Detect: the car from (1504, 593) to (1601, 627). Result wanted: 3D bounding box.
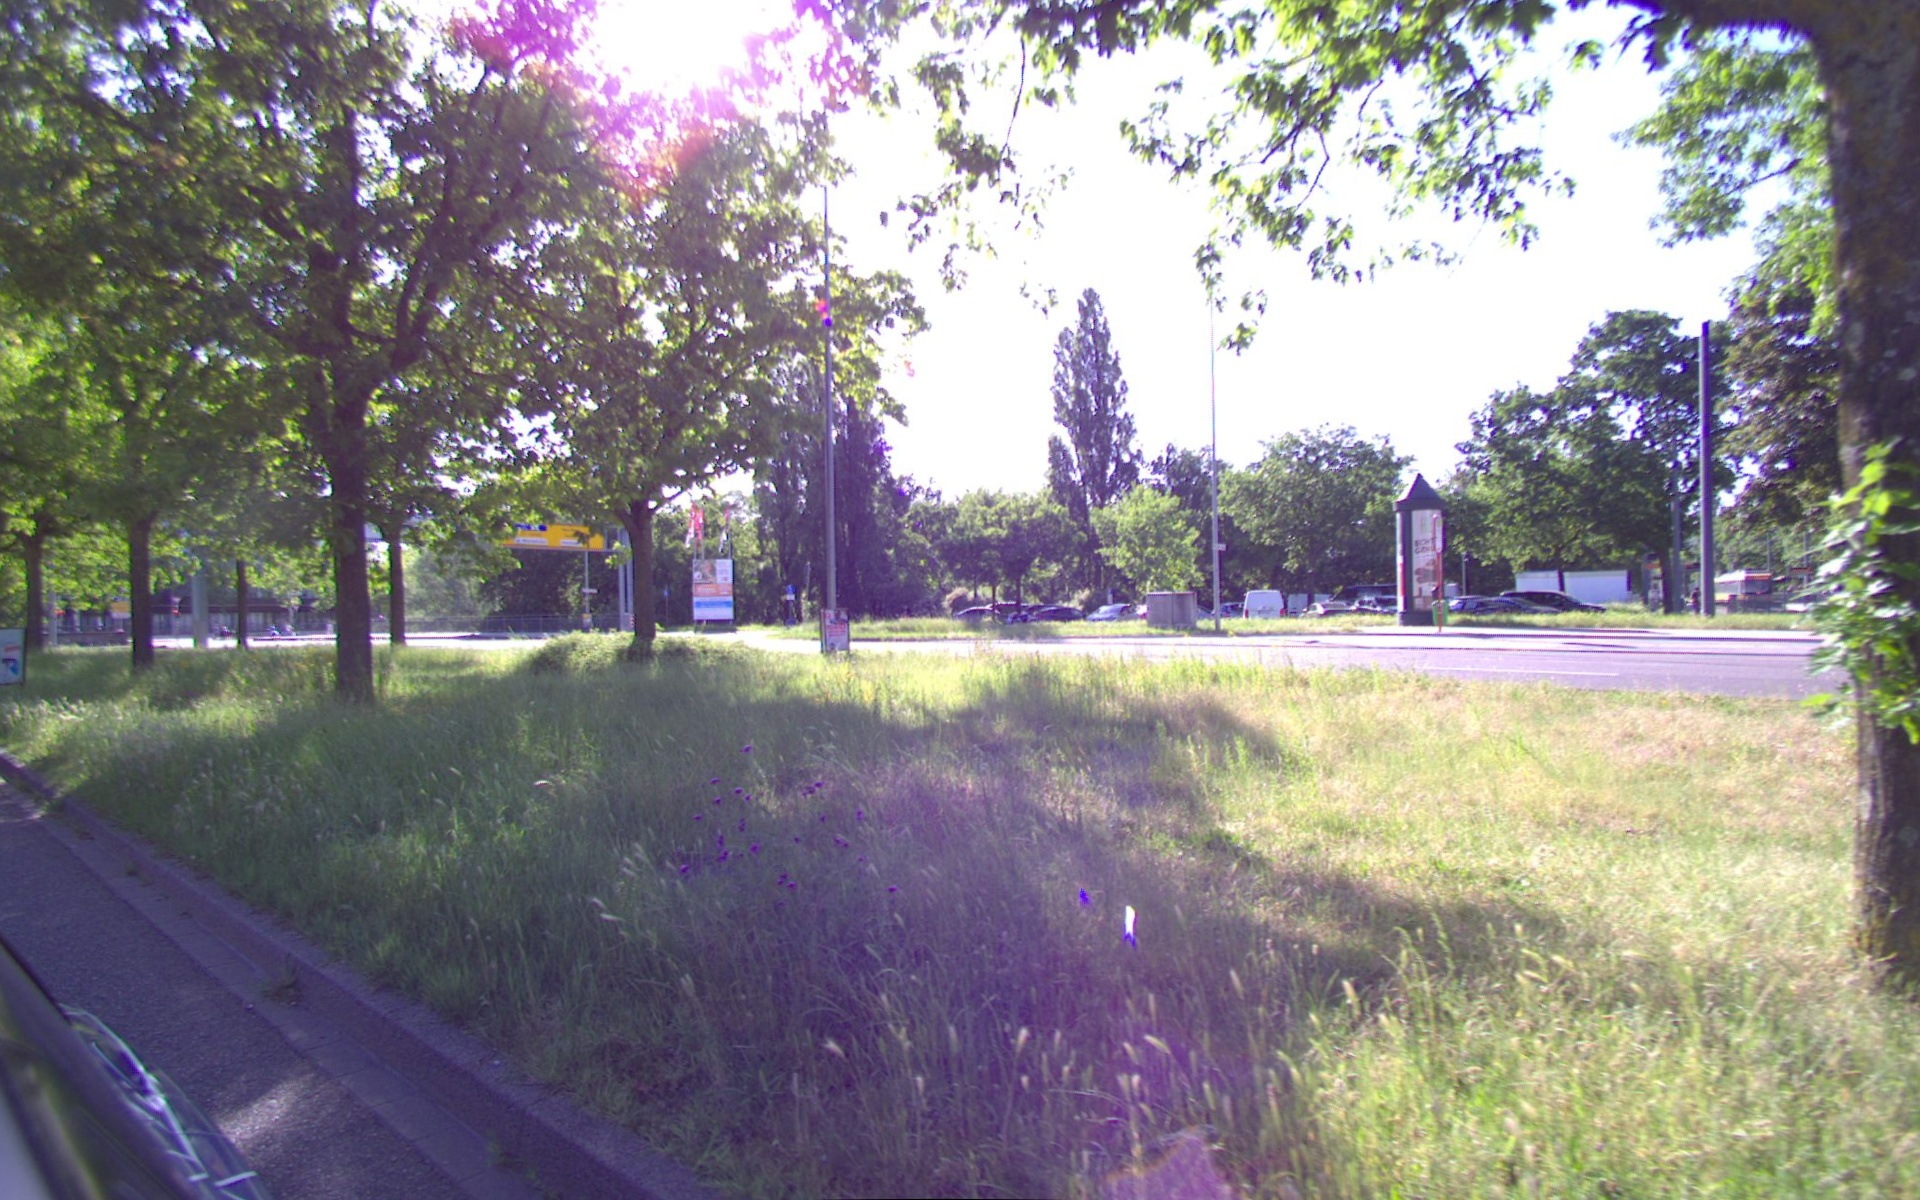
[{"bbox_3d":[29.056,0.506,49.787,3.983,1.579,1.980,-2,0,29],"label":"car"}]

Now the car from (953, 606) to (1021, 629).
[{"bbox_3d":[1.923,1.226,71.083,4.507,1.475,1.994,-1,1,11],"label":"car"}]

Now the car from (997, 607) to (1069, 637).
[{"bbox_3d":[3.856,1.168,54.110,1.791,1.459,4.012,-1,-1,-31],"label":"car"}]

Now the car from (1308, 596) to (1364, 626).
[{"bbox_3d":[17.452,0.498,47.149,1.981,1.292,3.982,-1,0,14],"label":"car"}]

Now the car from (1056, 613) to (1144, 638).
[{"bbox_3d":[7.026,1.273,50.724,3.989,1.137,1.801,-2,-1,34],"label":"car"}]

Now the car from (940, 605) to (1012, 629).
[{"bbox_3d":[1.072,1.127,67.555,4.507,1.475,1.994,-1,1,11],"label":"car"}]

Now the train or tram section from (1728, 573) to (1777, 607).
[{"bbox_3d":[76.134,-0.976,97.471,2.464,2.962,19.611,-1,0,35],"label":"train or tram section"}]

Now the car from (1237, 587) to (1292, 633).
[{"bbox_3d":[14.514,0.461,48.478,2.218,2.029,4.977,-1,0,14],"label":"car"}]

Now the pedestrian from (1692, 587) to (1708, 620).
[{"bbox_3d":[42.175,0.199,57.686,0.582,1.869,0.633,-2,0,29],"label":"pedestrian"}]

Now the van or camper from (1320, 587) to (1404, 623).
[{"bbox_3d":[24.505,0.346,61.802,1.967,2.112,4.413,-1,-1,-34],"label":"van or camper"}]
